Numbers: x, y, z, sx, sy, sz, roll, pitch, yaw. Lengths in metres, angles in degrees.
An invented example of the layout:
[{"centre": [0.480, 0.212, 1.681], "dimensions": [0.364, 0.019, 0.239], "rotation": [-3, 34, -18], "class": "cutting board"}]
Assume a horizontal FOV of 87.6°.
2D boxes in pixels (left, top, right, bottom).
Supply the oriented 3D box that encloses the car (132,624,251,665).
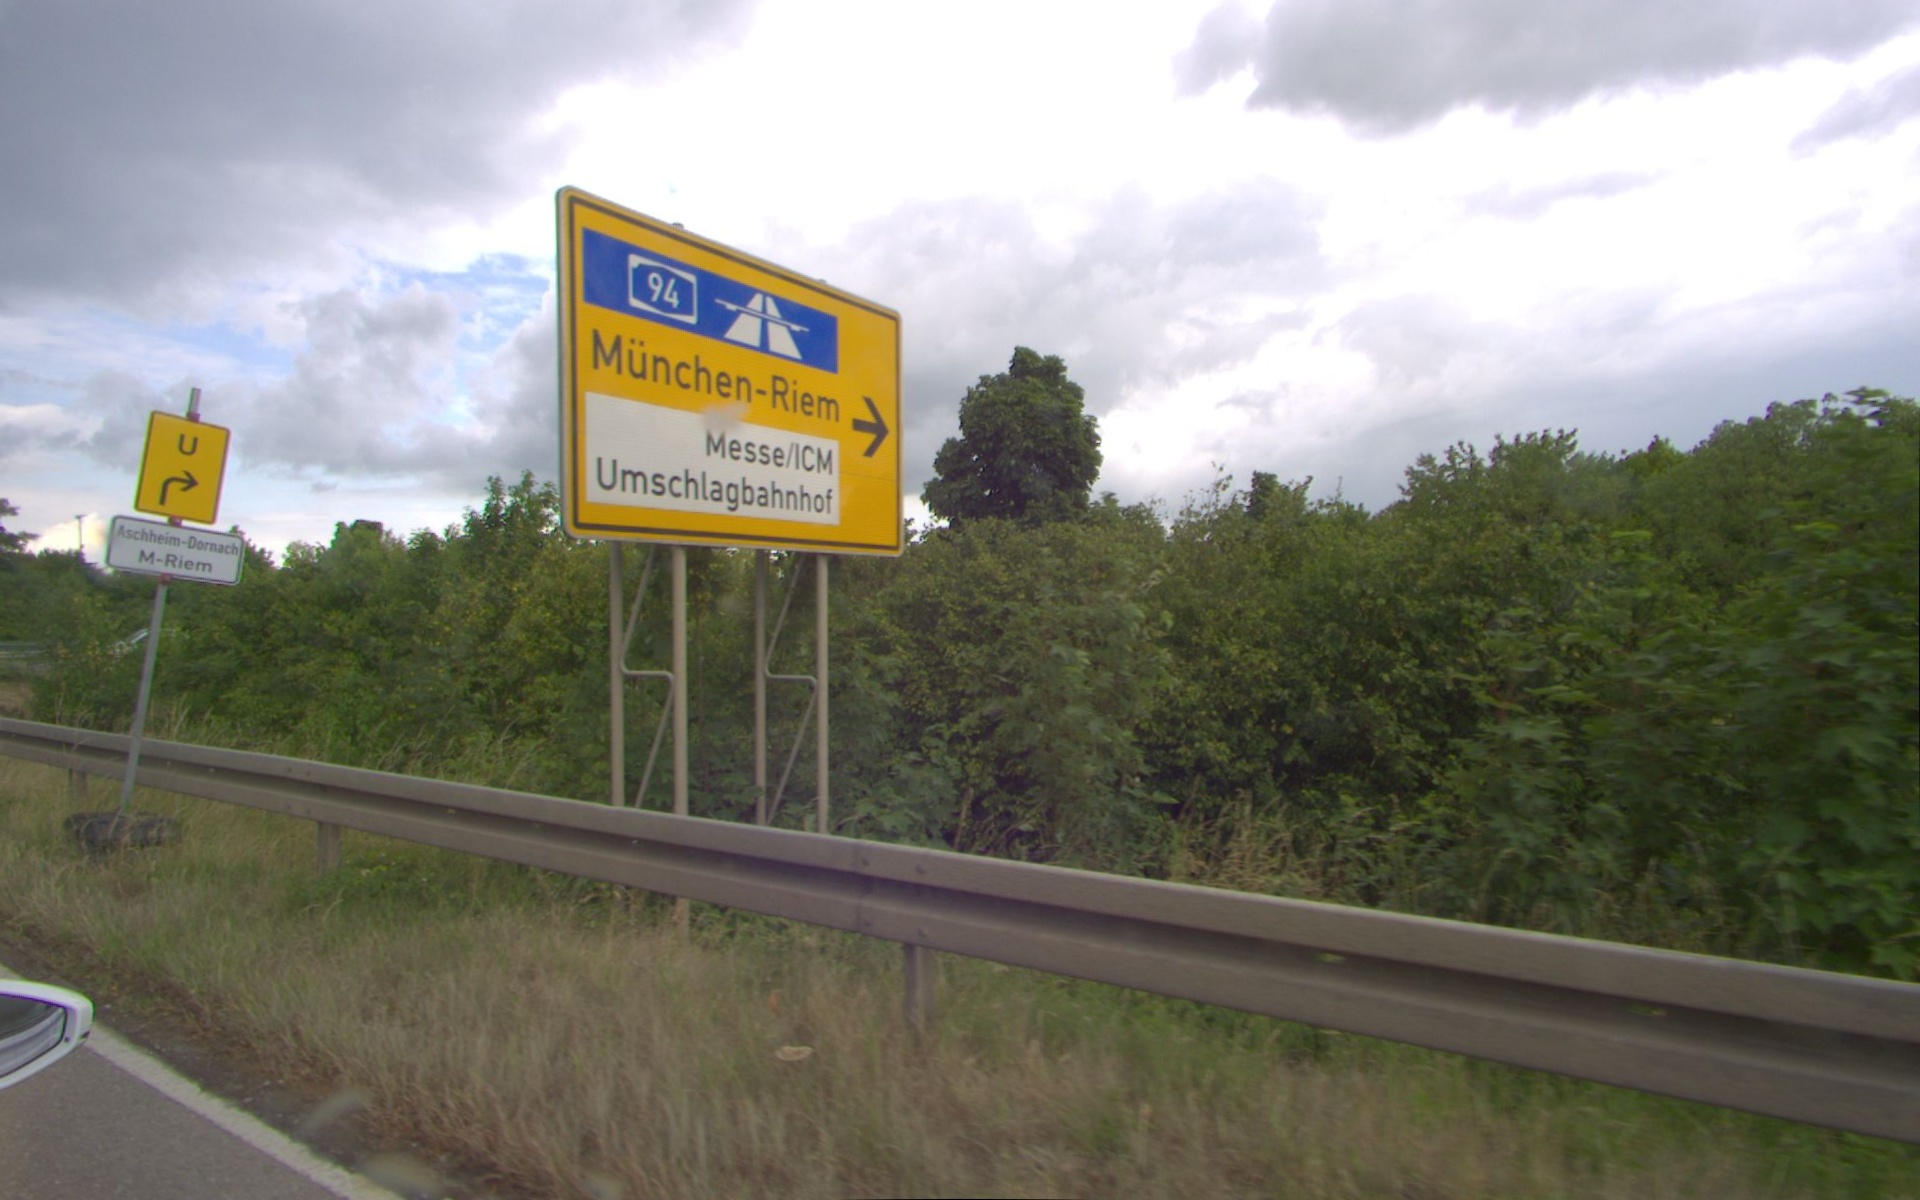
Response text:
[{"centre": [-42.929, 2.531, 56.029], "dimensions": [2.061, 2.089, 4.847], "rotation": [-1, -4, 37], "class": "car"}]
